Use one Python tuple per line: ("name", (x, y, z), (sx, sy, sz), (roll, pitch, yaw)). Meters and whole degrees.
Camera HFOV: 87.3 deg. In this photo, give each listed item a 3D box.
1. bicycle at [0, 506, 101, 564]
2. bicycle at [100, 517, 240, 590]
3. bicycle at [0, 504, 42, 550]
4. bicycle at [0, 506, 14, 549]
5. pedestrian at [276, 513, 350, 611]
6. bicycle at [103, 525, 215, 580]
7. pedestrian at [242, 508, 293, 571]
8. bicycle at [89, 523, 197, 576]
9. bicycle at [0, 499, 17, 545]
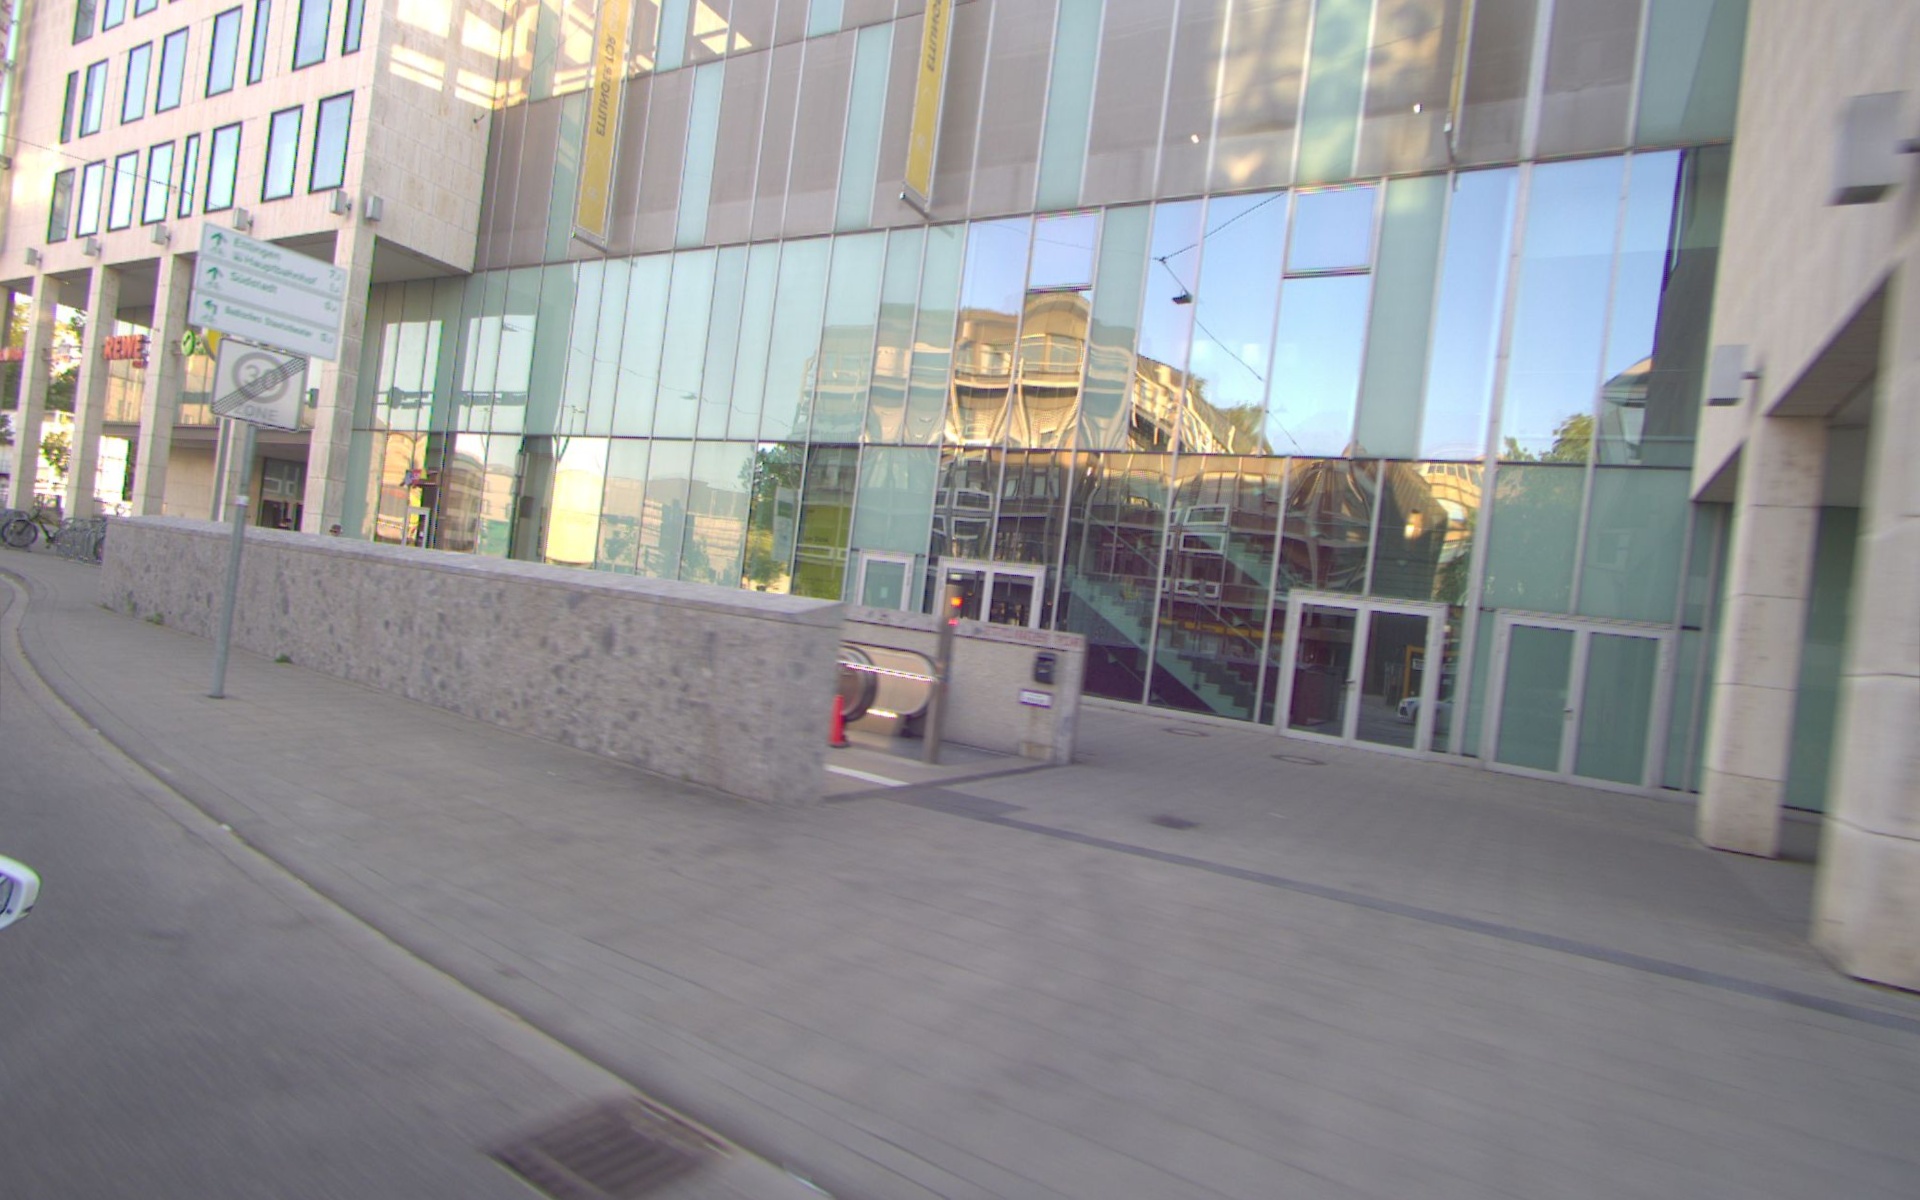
("bicycle", (-23.282, -1.643, 25.715), (0.591, 1.112, 1.818), (7, -3, 37))
("bicycle", (-15.435, -0.884, 19.712), (0.561, 1.143, 1.989), (7, -1, 35))
("bicycle", (-26.940, -2.129, 27.981), (0.561, 1.125, 1.875), (7, -3, 33))
("bicycle", (-25.122, -1.938, 25.227), (0.561, 1.060, 1.899), (7, -1, 35))
("pedestrian", (-12.600, -0.732, 19.605), (0.807, 1.756, 0.835), (7, 0, 37))
("bicycle", (-17.629, -1.031, 22.180), (0.507, 0.947, 1.812), (7, -1, 29))
("pedestrian", (-21.720, -1.894, 31.555), (0.973, 1.800, 0.862), (7, 2, 29))
("bicycle", (-18.193, -1.109, 22.444), (0.507, 0.947, 1.742), (7, -1, 29))
("bicycle", (-28.451, -2.387, 28.826), (0.662, 1.274, 1.873), (7, -3, 29))
